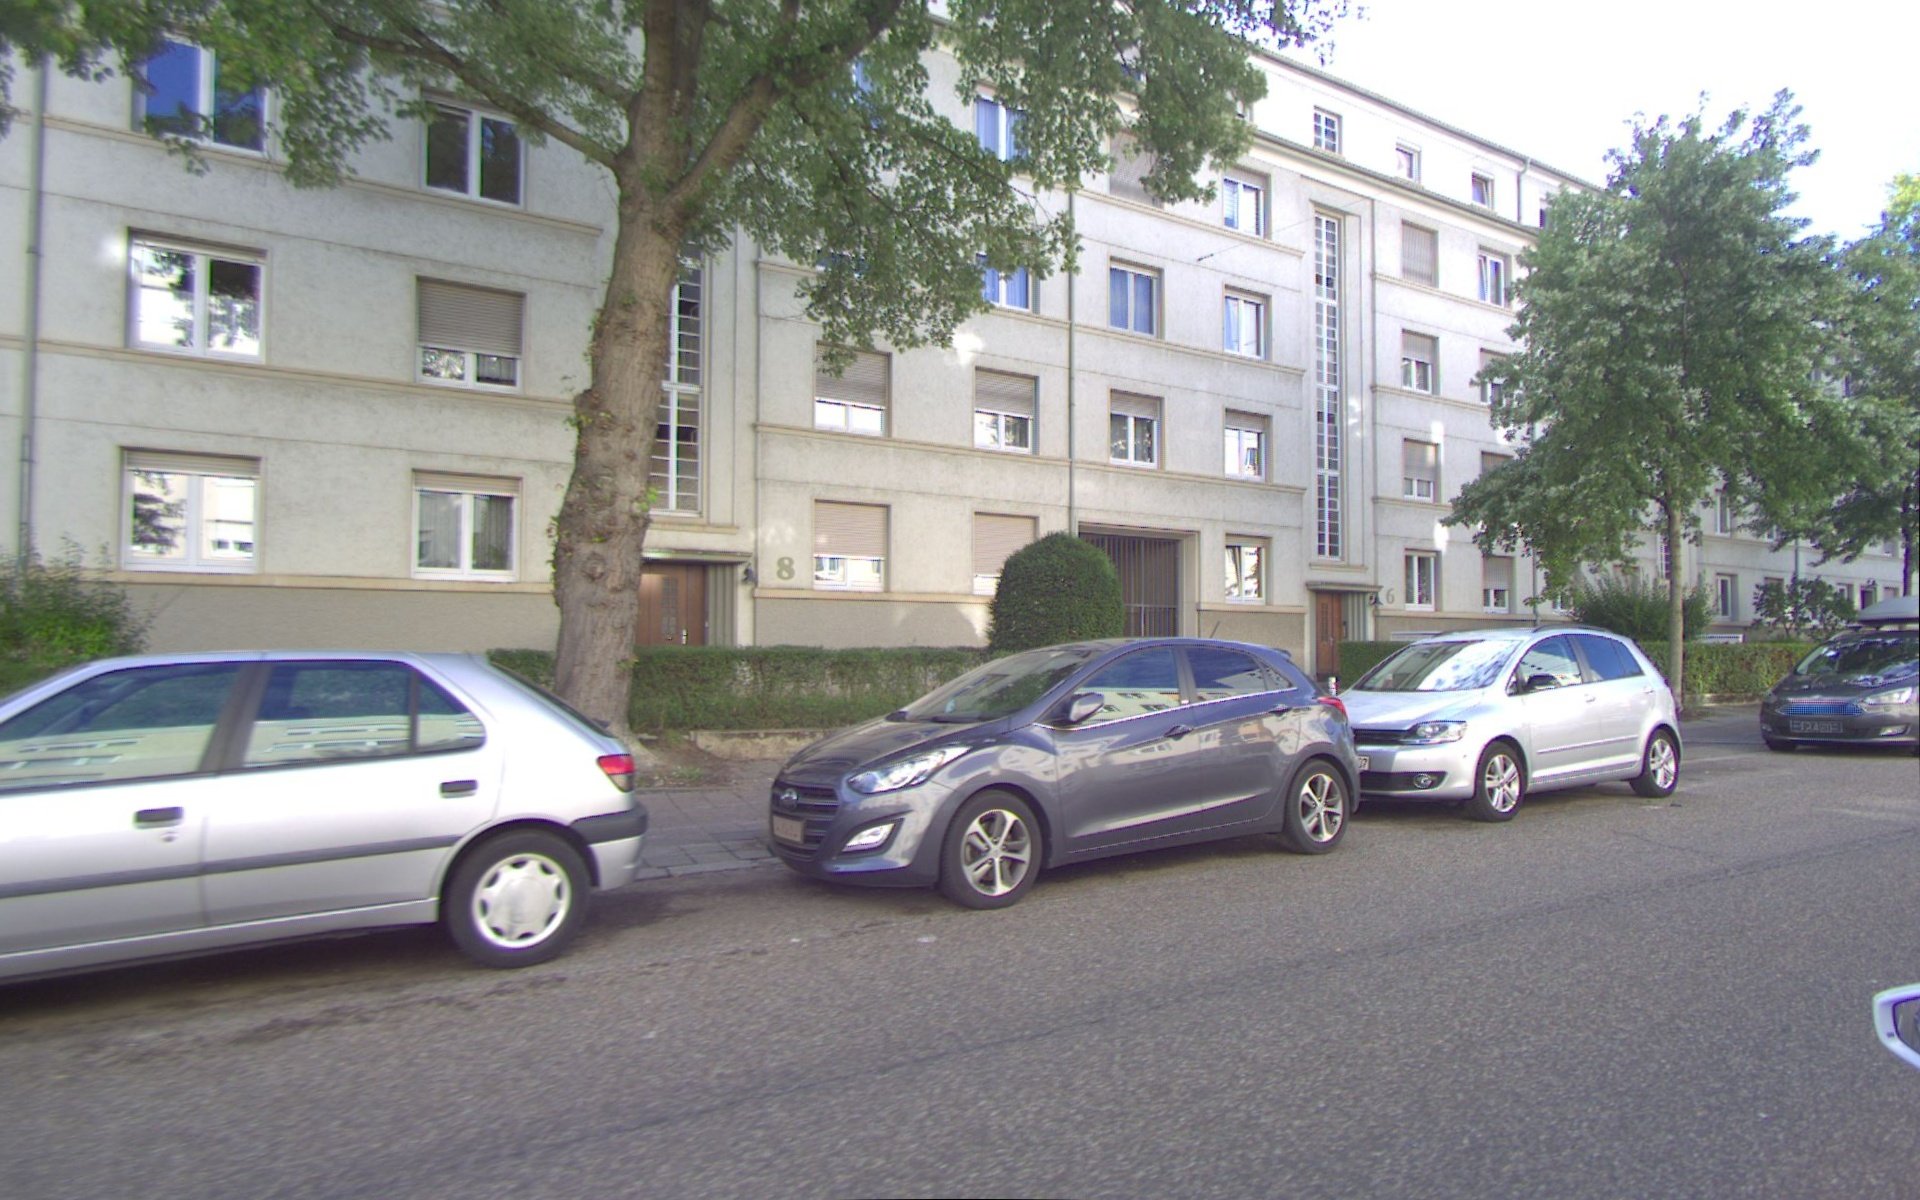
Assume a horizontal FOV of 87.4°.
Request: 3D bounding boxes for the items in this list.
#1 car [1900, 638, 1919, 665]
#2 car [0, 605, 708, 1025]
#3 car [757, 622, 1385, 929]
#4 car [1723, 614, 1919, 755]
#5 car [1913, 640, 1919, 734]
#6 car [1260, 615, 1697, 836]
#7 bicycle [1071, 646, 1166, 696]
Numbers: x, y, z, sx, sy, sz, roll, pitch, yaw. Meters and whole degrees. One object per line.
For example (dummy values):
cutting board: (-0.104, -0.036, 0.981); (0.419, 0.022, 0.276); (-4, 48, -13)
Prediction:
car: (55.540, 2.929, 56.757); (3.638, 1.497, 1.594); (1, -2, -8)
car: (-3.262, 0.814, 4.422); (3.917, 1.437, 1.594); (1, -5, -30)
car: (0.829, 0.953, 6.645); (3.968, 1.487, 1.606); (1, -5, -32)
car: (12.794, 1.123, 13.937); (4.427, 1.689, 1.793); (1, -5, -29)
car: (17.247, 1.364, 16.118); (3.800, 1.506, 1.694); (1, -5, -29)
car: (4.840, 1.041, 9.287); (3.949, 1.641, 1.731); (1, -5, -31)
bicycle: (3.986, 1.759, 25.456); (0.980, 1.138, 2.572); (1, -1, -30)
